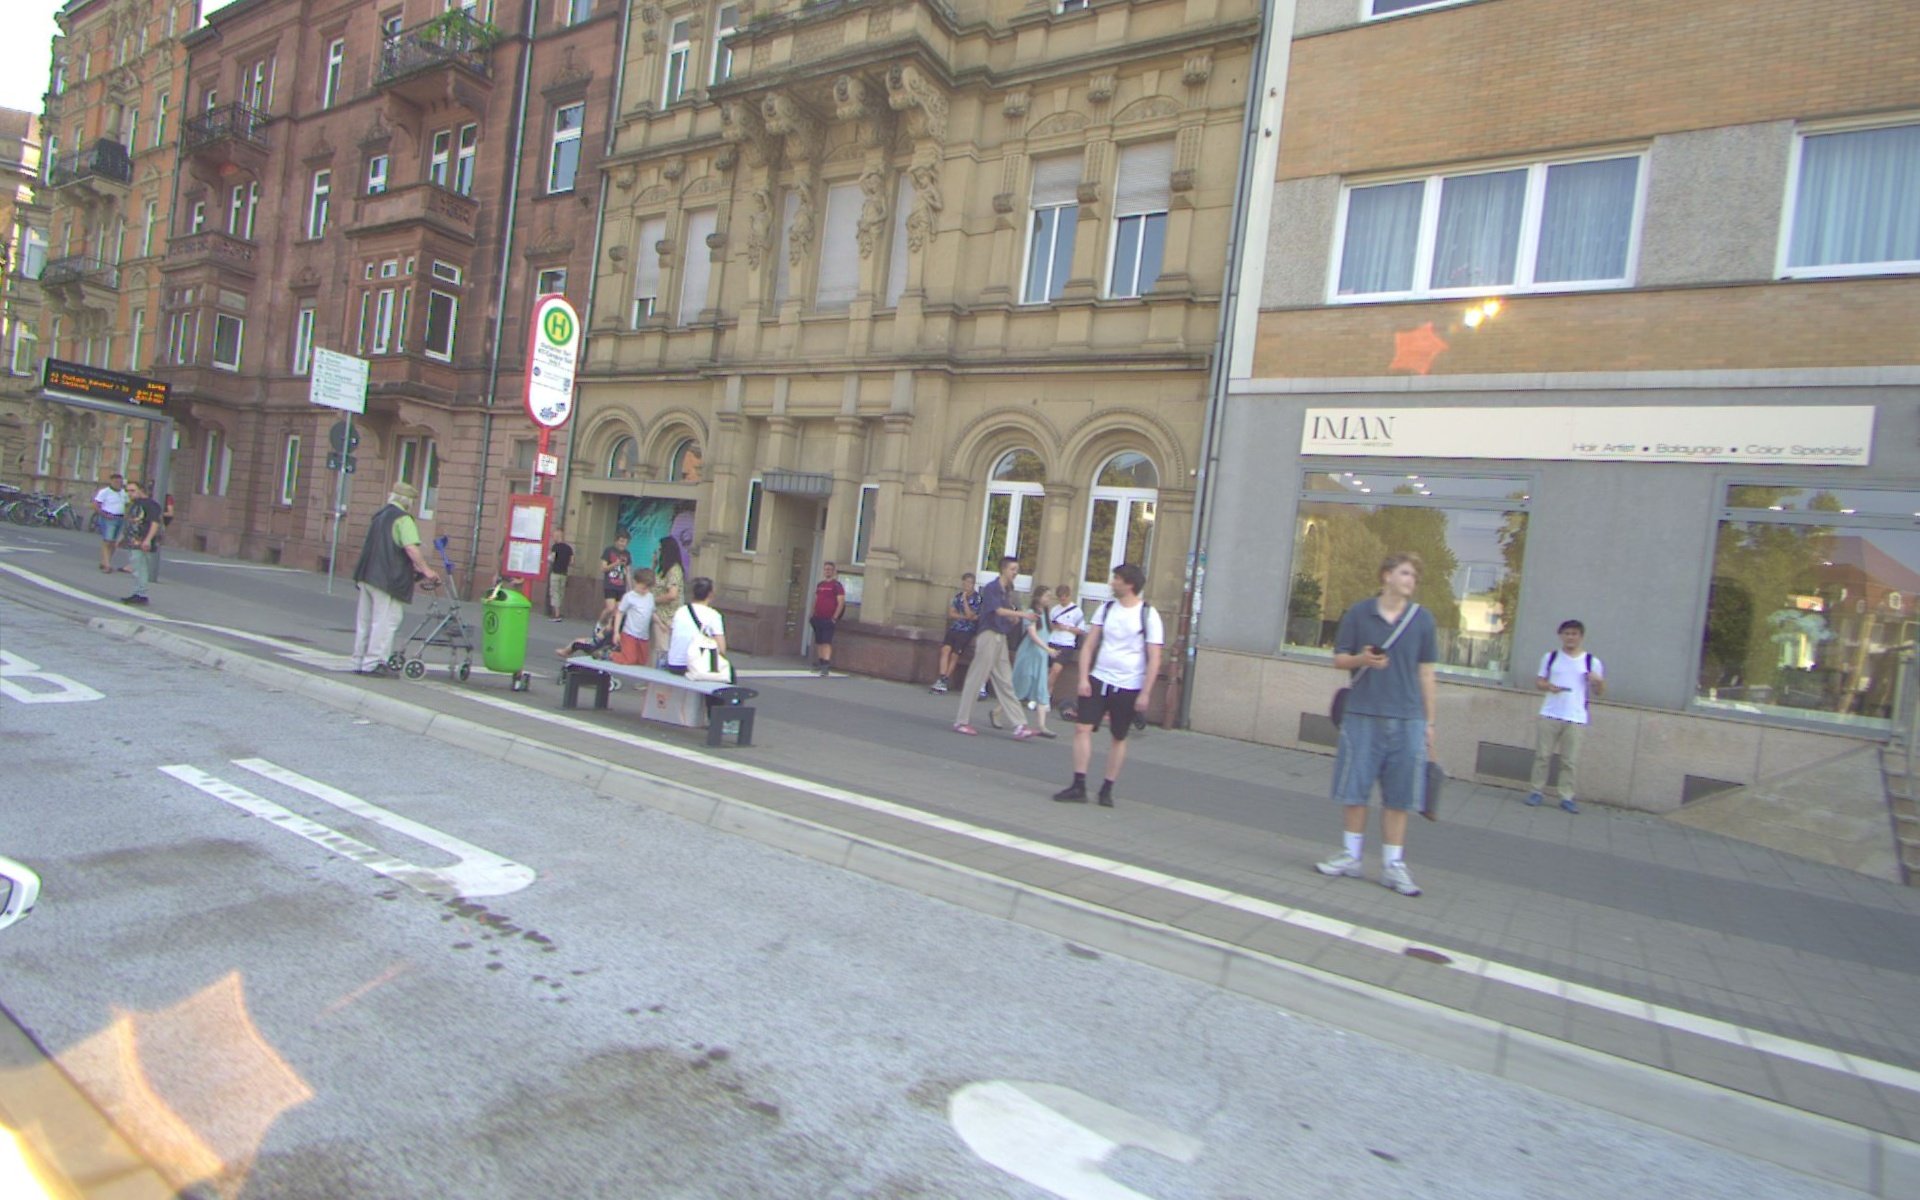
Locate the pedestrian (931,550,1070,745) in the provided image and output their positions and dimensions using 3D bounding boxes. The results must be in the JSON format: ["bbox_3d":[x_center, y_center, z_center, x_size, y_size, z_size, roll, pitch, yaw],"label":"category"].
[{"bbox_3d":[0.412,0.473,10.299,1.054,1.826,0.617,7,1,34],"label":"pedestrian"}]

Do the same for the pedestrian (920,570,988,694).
[{"bbox_3d":[-0.078,0.473,14.607,0.577,1.713,0.604,7,1,30],"label":"pedestrian"}]

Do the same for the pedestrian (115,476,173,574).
[{"bbox_3d":[-15.075,-1.382,18.586,0.691,1.723,0.482,7,1,30],"label":"pedestrian"}]

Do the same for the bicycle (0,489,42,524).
[{"bbox_3d":[-33.787,-3.355,35.482,0.518,1.061,1.932,7,0,27],"label":"bicycle"}]

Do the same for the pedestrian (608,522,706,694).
[{"bbox_3d":[-3.239,0.091,10.767,0.607,1.750,0.565,7,1,30],"label":"pedestrian"}]

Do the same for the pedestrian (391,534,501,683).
[{"bbox_3d":[-4.760,0.086,9.326,0.587,1.293,0.565,7,1,29],"label":"pedestrian"}]

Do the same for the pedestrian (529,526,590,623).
[{"bbox_3d":[-7.656,-0.485,19.230,0.679,1.740,0.630,7,1,33],"label":"pedestrian"}]

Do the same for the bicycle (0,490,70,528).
[{"bbox_3d":[-31.939,-3.128,34.564,0.491,1.061,1.932,7,0,27],"label":"bicycle"}]

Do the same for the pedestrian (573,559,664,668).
[{"bbox_3d":[-2.859,0.113,8.423,0.593,0.830,0.303,7,1,26],"label":"pedestrian"}]

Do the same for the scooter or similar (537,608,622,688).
[{"bbox_3d":[-3.948,0.502,10.449,0.505,0.751,0.565,7,1,30],"label":"scooter or similar"}]

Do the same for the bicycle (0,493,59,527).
[{"bbox_3d":[-32.610,-3.160,34.886,0.491,0.962,1.932,7,0,27],"label":"bicycle"}]

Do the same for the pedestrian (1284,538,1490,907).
[{"bbox_3d":[2.468,0.653,5.769,0.787,1.854,0.926,7,1,30],"label":"pedestrian"}]

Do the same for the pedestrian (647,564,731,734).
[{"bbox_3d":[-2.166,0.386,8.044,0.440,1.290,0.275,7,1,26],"label":"pedestrian"}]

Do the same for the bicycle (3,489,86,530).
[{"bbox_3d":[-30.151,-2.974,33.166,0.491,1.061,1.932,7,0,27],"label":"bicycle"}]

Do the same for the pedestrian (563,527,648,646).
[{"bbox_3d":[-5.587,-0.203,15.853,0.883,1.746,0.701,7,1,33],"label":"pedestrian"}]

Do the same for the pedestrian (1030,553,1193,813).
[{"bbox_3d":[1.137,0.592,7.482,0.787,1.750,0.750,7,1,30],"label":"pedestrian"}]

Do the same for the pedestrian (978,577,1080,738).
[{"bbox_3d":[0.751,0.617,10.991,0.800,1.630,0.486,7,1,34],"label":"pedestrian"}]

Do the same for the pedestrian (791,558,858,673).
[{"bbox_3d":[-2.066,0.241,15.363,0.577,1.675,0.604,7,1,30],"label":"pedestrian"}]

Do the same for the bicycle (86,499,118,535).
[{"bbox_3d":[-27.898,-2.698,32.718,1.645,1.061,0.416,7,1,39],"label":"bicycle"}]

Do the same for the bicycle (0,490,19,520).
[{"bbox_3d":[-36.166,-3.621,37.161,0.518,1.061,1.932,7,0,27],"label":"bicycle"}]

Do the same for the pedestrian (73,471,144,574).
[{"bbox_3d":[-14.916,-1.352,17.624,0.609,1.685,0.691,7,1,33],"label":"pedestrian"}]

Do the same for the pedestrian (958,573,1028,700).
[{"bbox_3d":[0.470,0.520,14.259,0.577,1.713,0.604,7,1,30],"label":"pedestrian"}]

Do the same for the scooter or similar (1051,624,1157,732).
[{"bbox_3d":[1.788,0.954,12.531,1.133,1.178,0.360,7,1,31],"label":"scooter or similar"}]

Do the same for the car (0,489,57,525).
[{"bbox_3d":[-40.452,-4.066,41.871,1.521,1.237,3.943,7,0,29],"label":"car"}]

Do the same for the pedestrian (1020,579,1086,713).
[{"bbox_3d":[1.282,0.627,13.784,0.502,1.753,0.604,7,1,30],"label":"pedestrian"}]

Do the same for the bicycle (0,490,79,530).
[{"bbox_3d":[-30.736,-2.992,33.558,0.491,1.061,1.932,7,0,27],"label":"bicycle"}]

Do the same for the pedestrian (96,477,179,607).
[{"bbox_3d":[-10.961,-0.769,13.405,0.691,1.632,0.528,7,1,30],"label":"pedestrian"}]

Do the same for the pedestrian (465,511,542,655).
[{"bbox_3d":[-5.860,-0.220,12.909,0.792,1.754,0.341,7,1,30],"label":"pedestrian"}]

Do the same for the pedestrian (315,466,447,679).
[{"bbox_3d":[-5.058,-0.232,8.794,0.733,1.750,0.565,7,1,30],"label":"pedestrian"}]

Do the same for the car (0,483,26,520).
[{"bbox_3d":[-44.615,-4.670,44.650,1.966,1.582,4.188,7,0,29],"label":"car"}]

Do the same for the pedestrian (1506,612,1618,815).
[{"bbox_3d":[5.965,1.102,9.998,0.730,1.854,0.604,7,1,30],"label":"pedestrian"}]

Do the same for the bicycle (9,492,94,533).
[{"bbox_3d":[-29.553,-2.833,32.754,0.491,1.061,1.932,7,0,27],"label":"bicycle"}]
